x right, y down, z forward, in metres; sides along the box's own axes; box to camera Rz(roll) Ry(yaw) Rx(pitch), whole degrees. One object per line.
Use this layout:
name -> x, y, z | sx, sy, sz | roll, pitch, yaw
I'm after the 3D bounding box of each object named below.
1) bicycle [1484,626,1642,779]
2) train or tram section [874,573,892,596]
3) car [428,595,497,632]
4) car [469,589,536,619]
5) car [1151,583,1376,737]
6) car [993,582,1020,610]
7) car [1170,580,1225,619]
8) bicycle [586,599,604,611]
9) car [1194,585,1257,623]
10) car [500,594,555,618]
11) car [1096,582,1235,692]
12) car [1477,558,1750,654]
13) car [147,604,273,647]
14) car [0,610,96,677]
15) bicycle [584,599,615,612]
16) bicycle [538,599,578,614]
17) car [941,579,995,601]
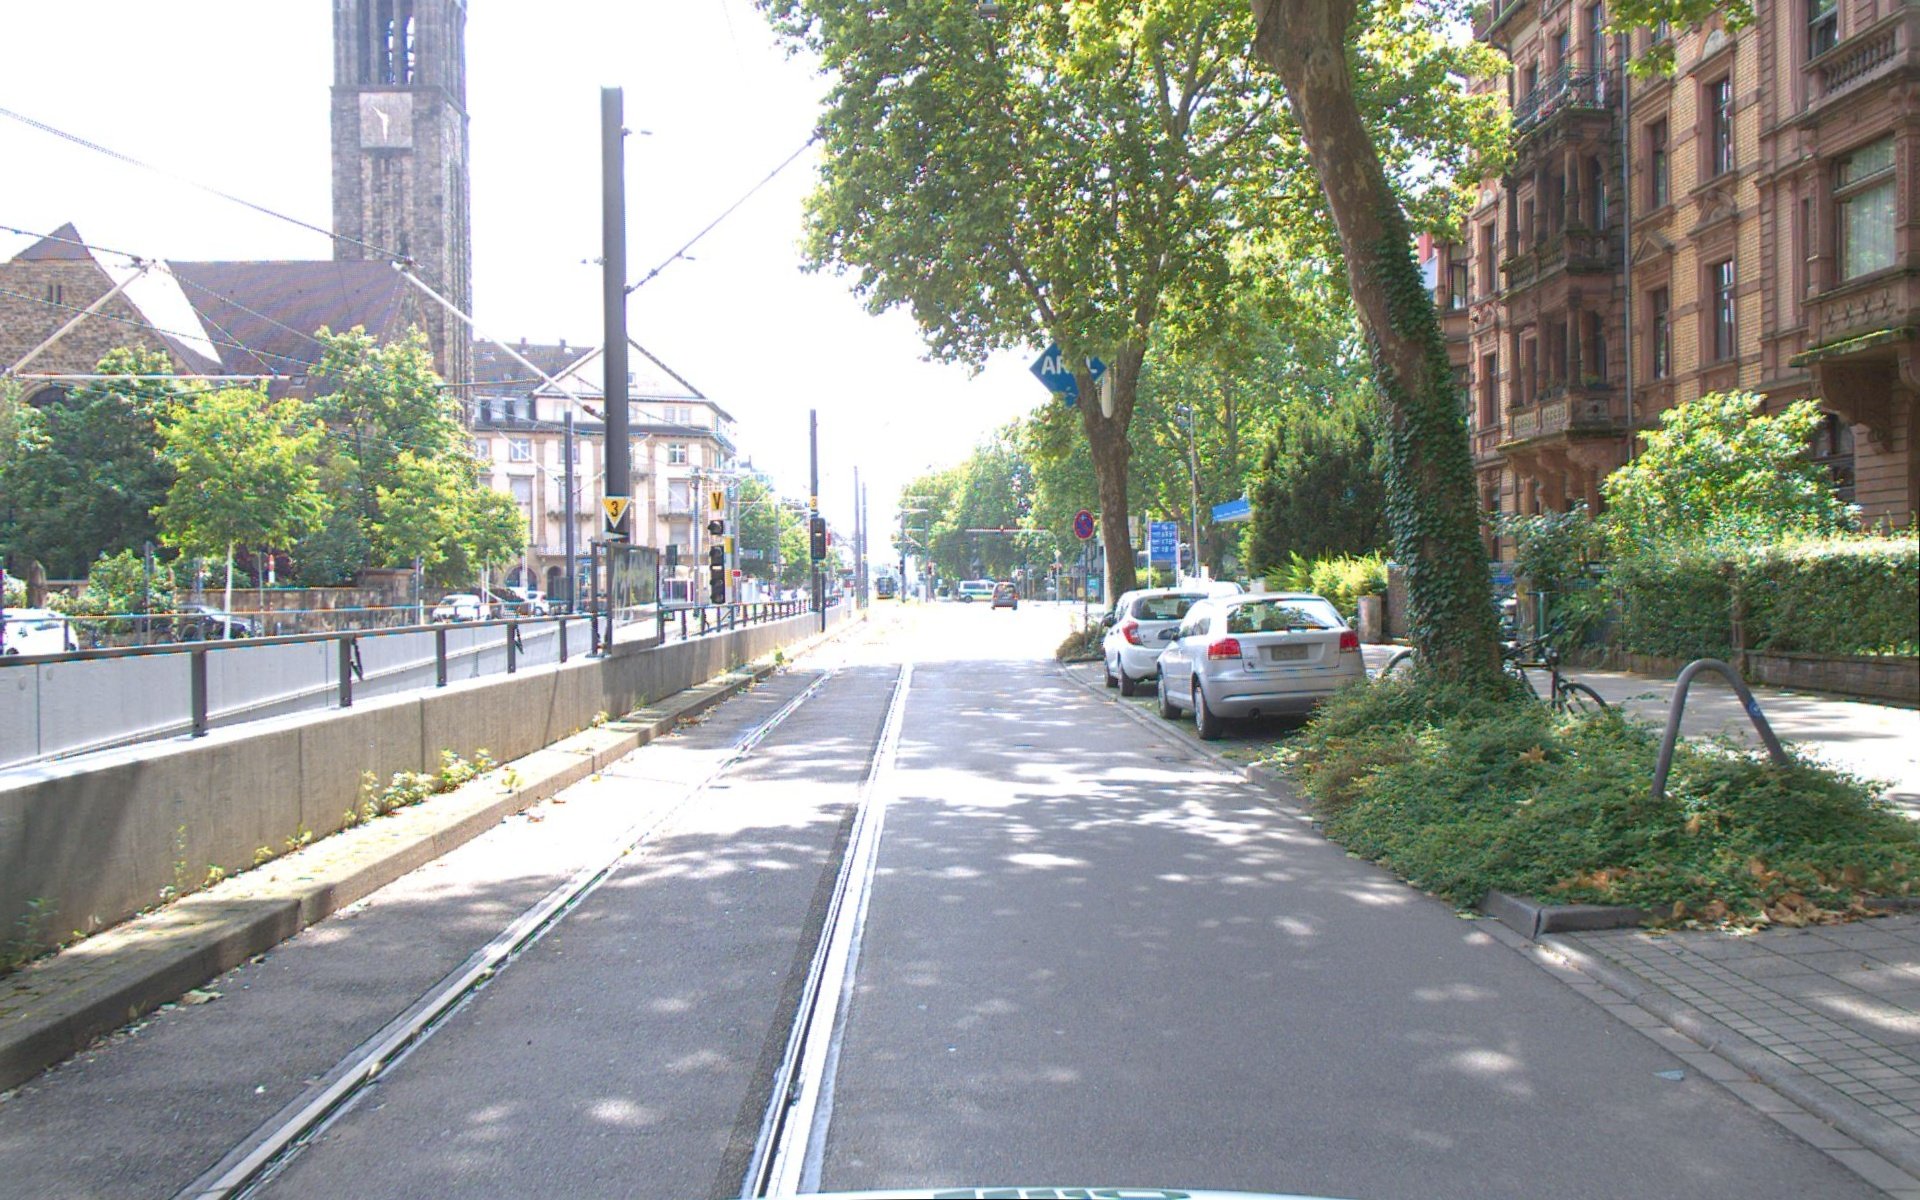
bicycle -> 4.465, 0.733, 12.325 | 0.568, 1.037, 1.322 | -1, 0, -6
train or tram section -> -11.645, -2.306, 250.941 | 2.195, 3.389, 12.970 | -1, 0, -1
car -> -22.195, 0.582, 73.970 | 1.892, 1.531, 4.412 | -1, 0, -3
car -> -29.174, 0.249, 105.632 | 3.793, 1.779, 1.894 | -1, 0, -4
car -> 3.181, 0.568, 18.038 | 1.644, 1.469, 3.857 | -1, 0, -1
car -> 3.207, -0.296, 114.167 | 1.715, 1.840, 3.474 | 1, 0, -1
car -> 10.426, -0.043, 72.800 | 1.769, 1.630, 4.582 | 0, 0, 0
bicycle -> -31.694, 0.441, 143.554 | 0.795, 1.071, 2.540 | -1, 0, -30
car -> 10.500, 0.140, 65.607 | 1.769, 1.481, 4.000 | 0, 0, -1
car -> -28.467, 0.371, 108.927 | 3.200, 1.528, 1.854 | -1, 0, -3
car -> 3.032, 0.514, 25.021 | 1.522, 1.511, 3.857 | -1, 0, -1
car -> 11.781, 0.103, 29.999 | 4.148, 1.495, 1.941 | -2, 0, -1
car -> -27.920, 0.932, 61.663 | 3.882, 1.489, 1.723 | -1, 0, -1
car -> -21.219, 0.946, 36.935 | 1.716, 1.351, 4.310 | -1, 0, -3
bicycle -> -30.931, 0.450, 142.016 | 2.529, 1.071, 0.676 | -1, 0, -29
bicycle -> -34.274, 0.564, 141.070 | 3.239, 1.275, 0.999 | -1, 0, 16
car -> 0.727, -0.941, 149.826 | 4.634, 1.892, 2.002 | -1, 0, 6
